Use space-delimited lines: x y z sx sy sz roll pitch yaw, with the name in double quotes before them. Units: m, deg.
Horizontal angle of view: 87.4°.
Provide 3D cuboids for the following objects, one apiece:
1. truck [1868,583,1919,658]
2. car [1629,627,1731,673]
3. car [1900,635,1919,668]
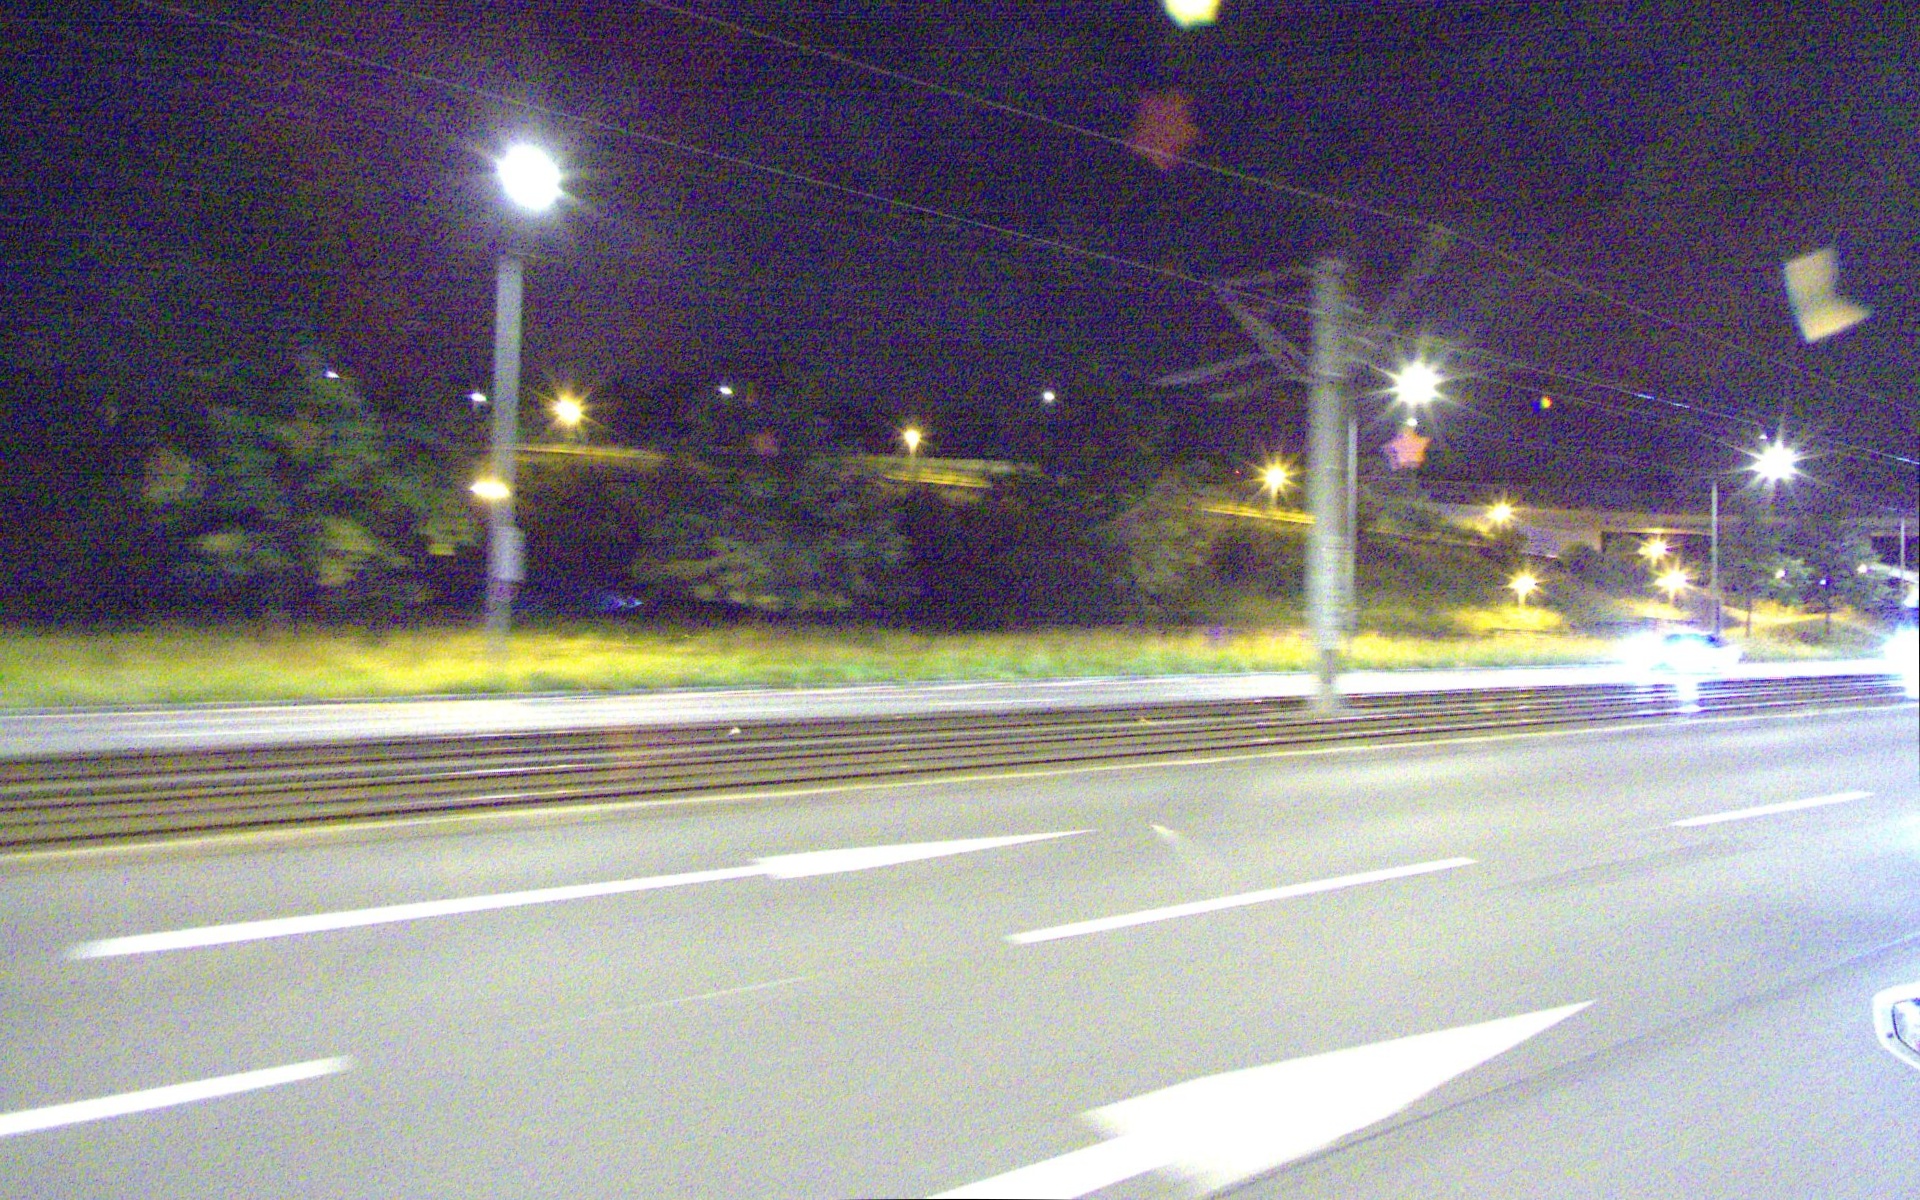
"truck" 55.422 1.224 56.569 10.306 4.007 3.661 2 0 -32
"car" 27.753 1.918 38.695 3.914 1.647 1.717 2 0 -30
"car" 45.405 2.402 46.542 4.041 1.519 1.794 2 -1 -33
